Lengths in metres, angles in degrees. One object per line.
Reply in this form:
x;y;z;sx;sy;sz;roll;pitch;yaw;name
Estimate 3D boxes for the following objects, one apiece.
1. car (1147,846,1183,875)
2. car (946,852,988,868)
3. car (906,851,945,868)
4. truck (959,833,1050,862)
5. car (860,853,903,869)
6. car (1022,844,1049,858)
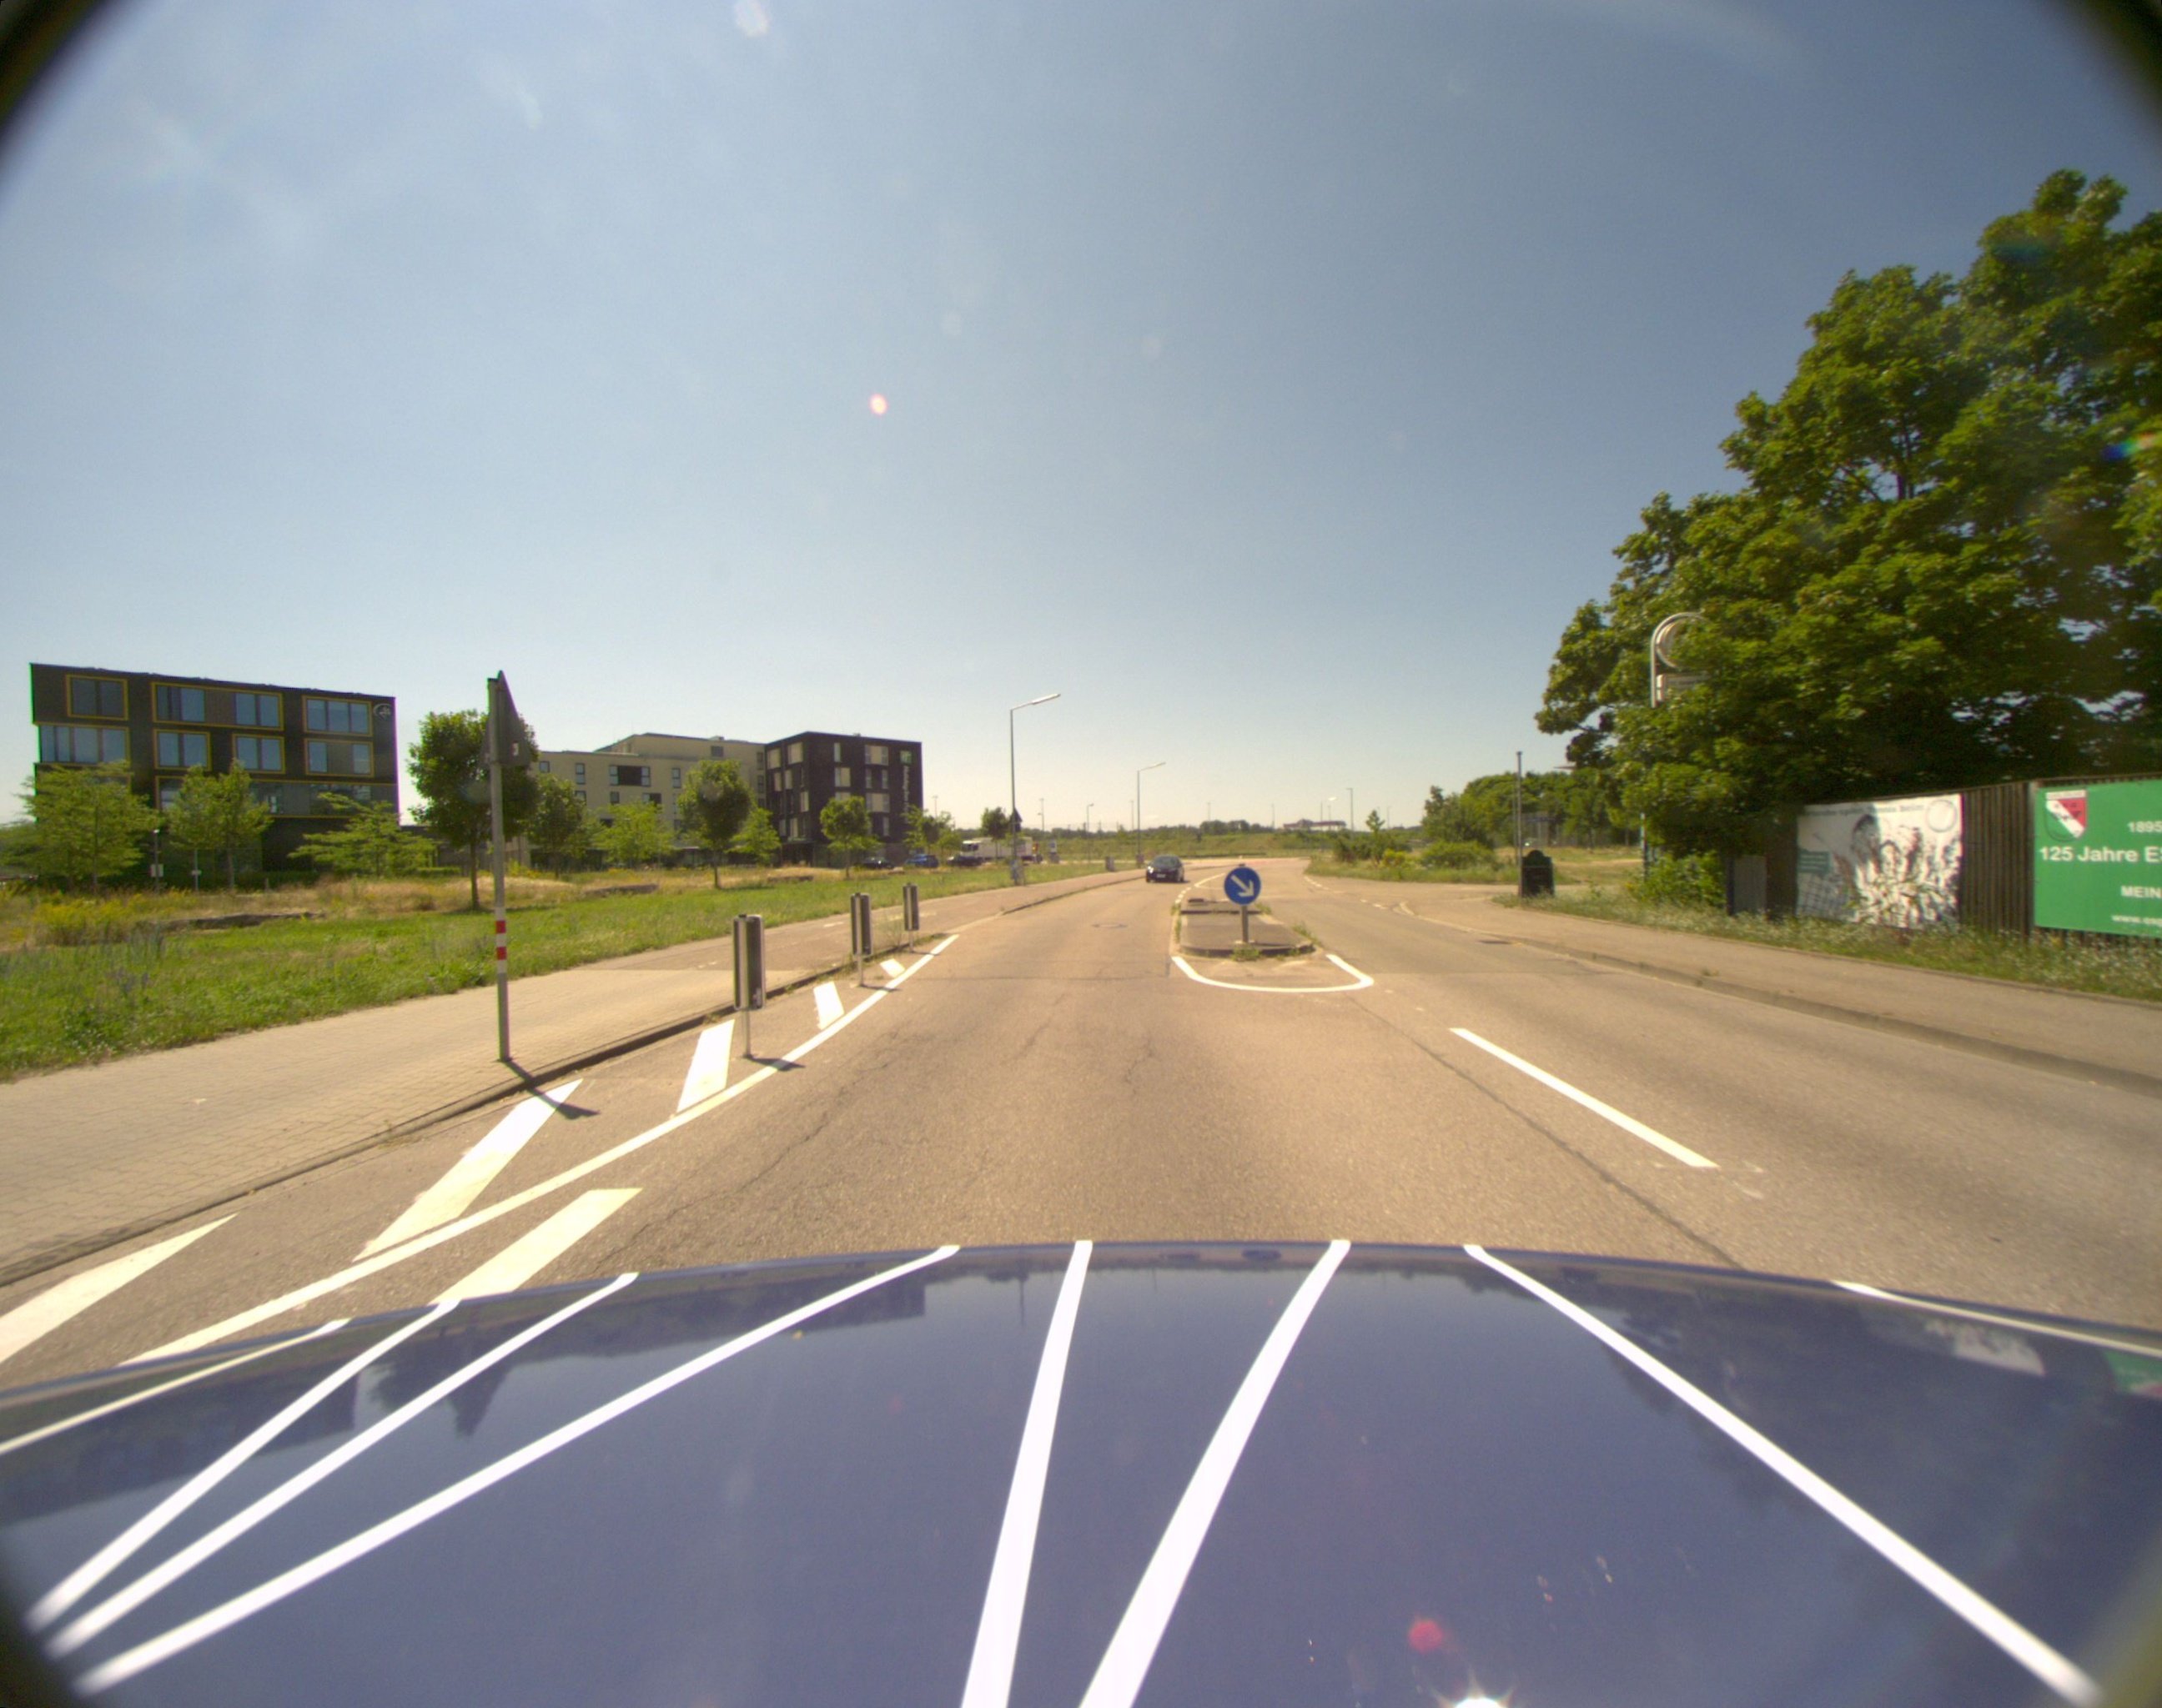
4.573;0.324;40.870;1.652;1.458;4.162;-1;1;10;car
-11.998;0.623;79.635;4.495;1.553;2.036;-1;1;44;car
-15.698;0.509;76.751;1.958;1.642;4.059;-2;1;-45;car
-9.651;-0.903;97.588;12.163;3.442;3.009;-1;3;-43;truck
-19.285;0.679;73.274;4.114;1.436;1.966;0;1;40;car
-6.990;-0.468;116.581;1.884;2.002;3.905;-2;1;-43;car
